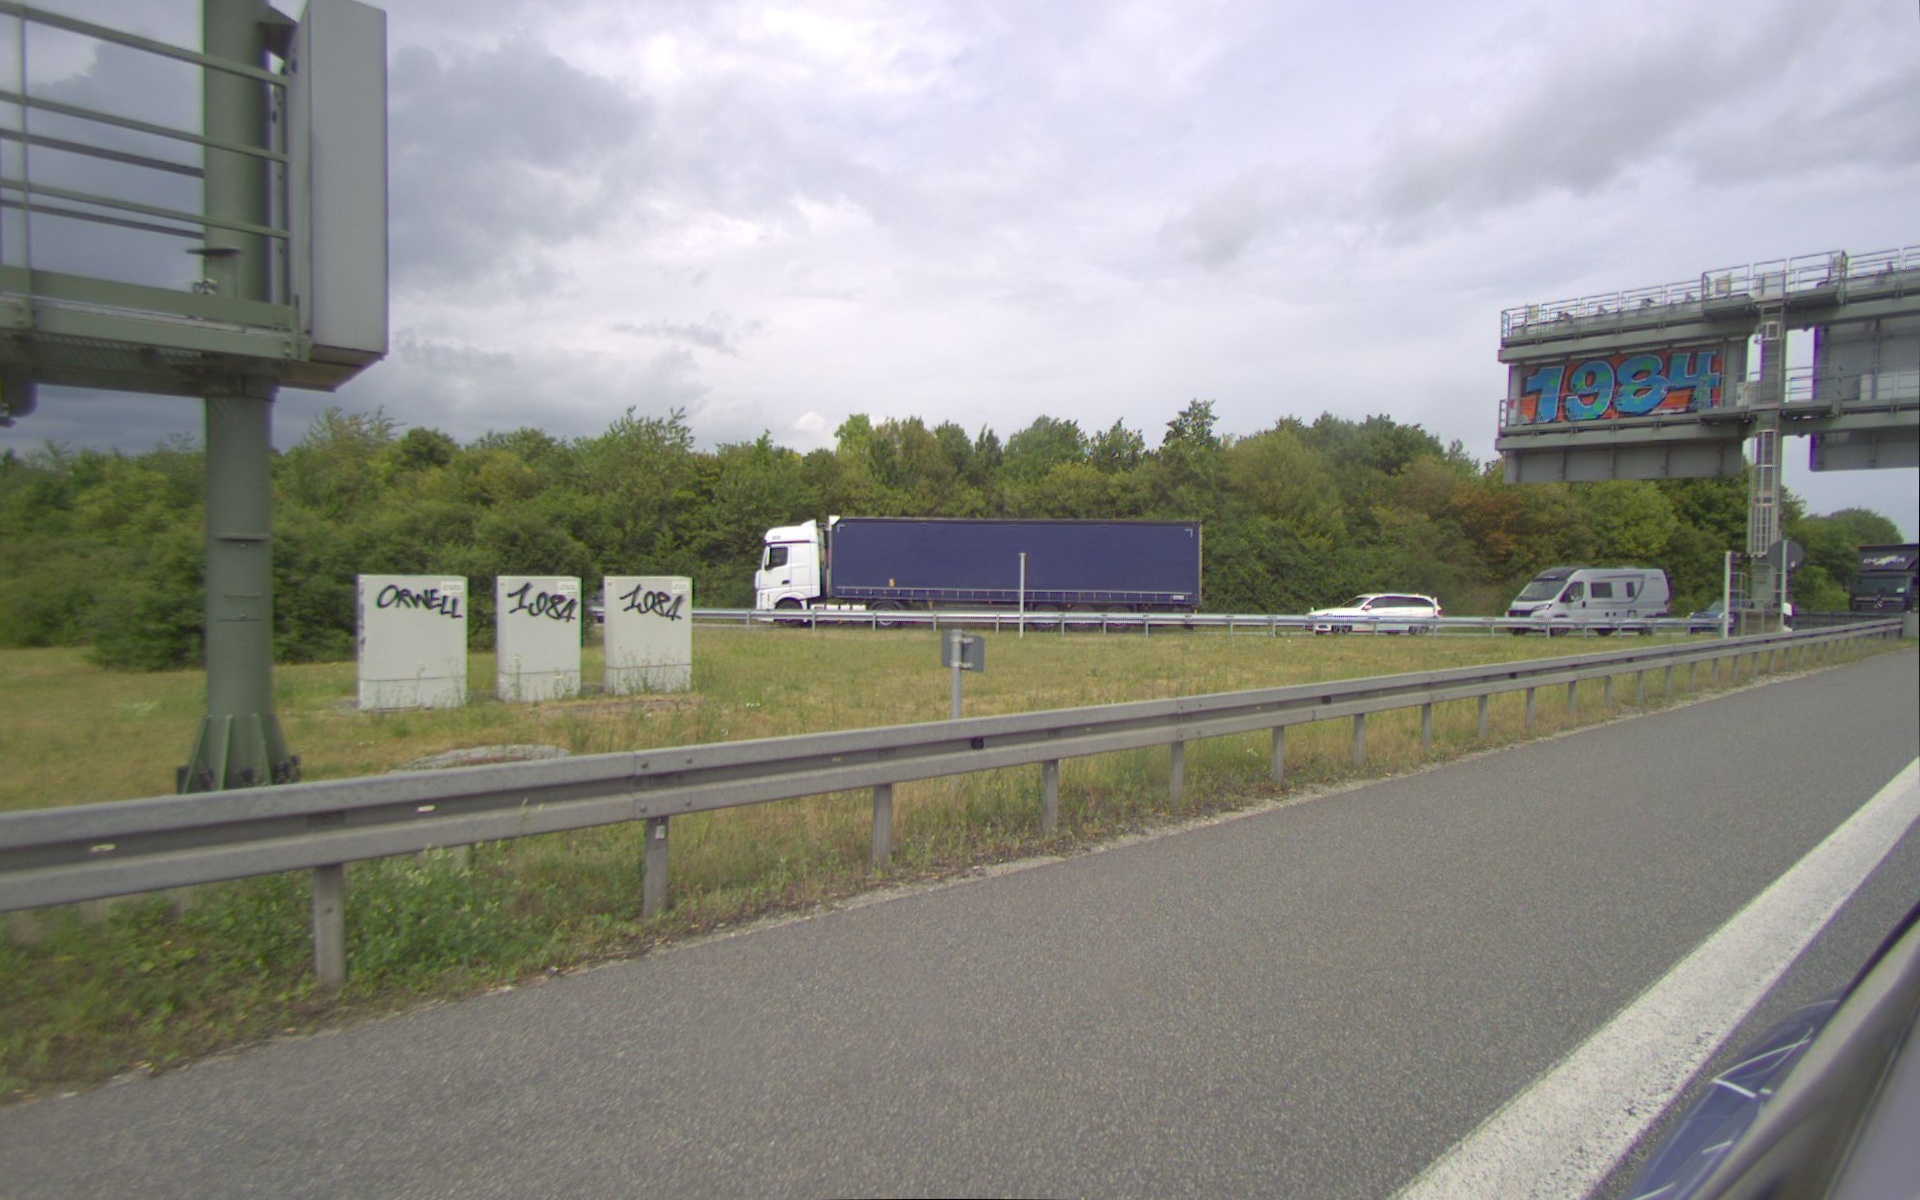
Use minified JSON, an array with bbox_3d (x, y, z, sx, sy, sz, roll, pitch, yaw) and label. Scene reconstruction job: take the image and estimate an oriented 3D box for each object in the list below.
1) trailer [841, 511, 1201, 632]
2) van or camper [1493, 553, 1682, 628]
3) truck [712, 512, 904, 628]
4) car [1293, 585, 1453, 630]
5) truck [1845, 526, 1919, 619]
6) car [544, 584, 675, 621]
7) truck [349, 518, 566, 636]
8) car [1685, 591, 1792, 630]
[{"bbox_3d":[2.163,-1.044,37.660,12.791,4.246,3.339,0,0,2],"label":"trailer"},{"bbox_3d":[22.961,-0.352,37.089,6.031,2.600,2.306,0,1,-14],"label":"van or camper"},{"bbox_3d":[-5.560,-1.101,37.976,6.664,4.147,3.369,0,0,2],"label":"truck"},{"bbox_3d":[14.536,0.246,35.781,4.691,1.520,2.216,0,1,-5],"label":"car"},{"bbox_3d":[44.913,-1.206,46.825,10.135,4.004,3.029,0,0,-31],"label":"truck"},{"bbox_3d":[-13.768,0.074,39.790,4.722,1.379,1.880,1,1,17],"label":"car"},{"bbox_3d":[-21.451,-0.918,43.156,8.884,4.674,3.260,0,0,22],"label":"truck"},{"bbox_3d":[30.699,0.386,39.919,3.589,1.437,1.738,-1,0,-22],"label":"car"}]
